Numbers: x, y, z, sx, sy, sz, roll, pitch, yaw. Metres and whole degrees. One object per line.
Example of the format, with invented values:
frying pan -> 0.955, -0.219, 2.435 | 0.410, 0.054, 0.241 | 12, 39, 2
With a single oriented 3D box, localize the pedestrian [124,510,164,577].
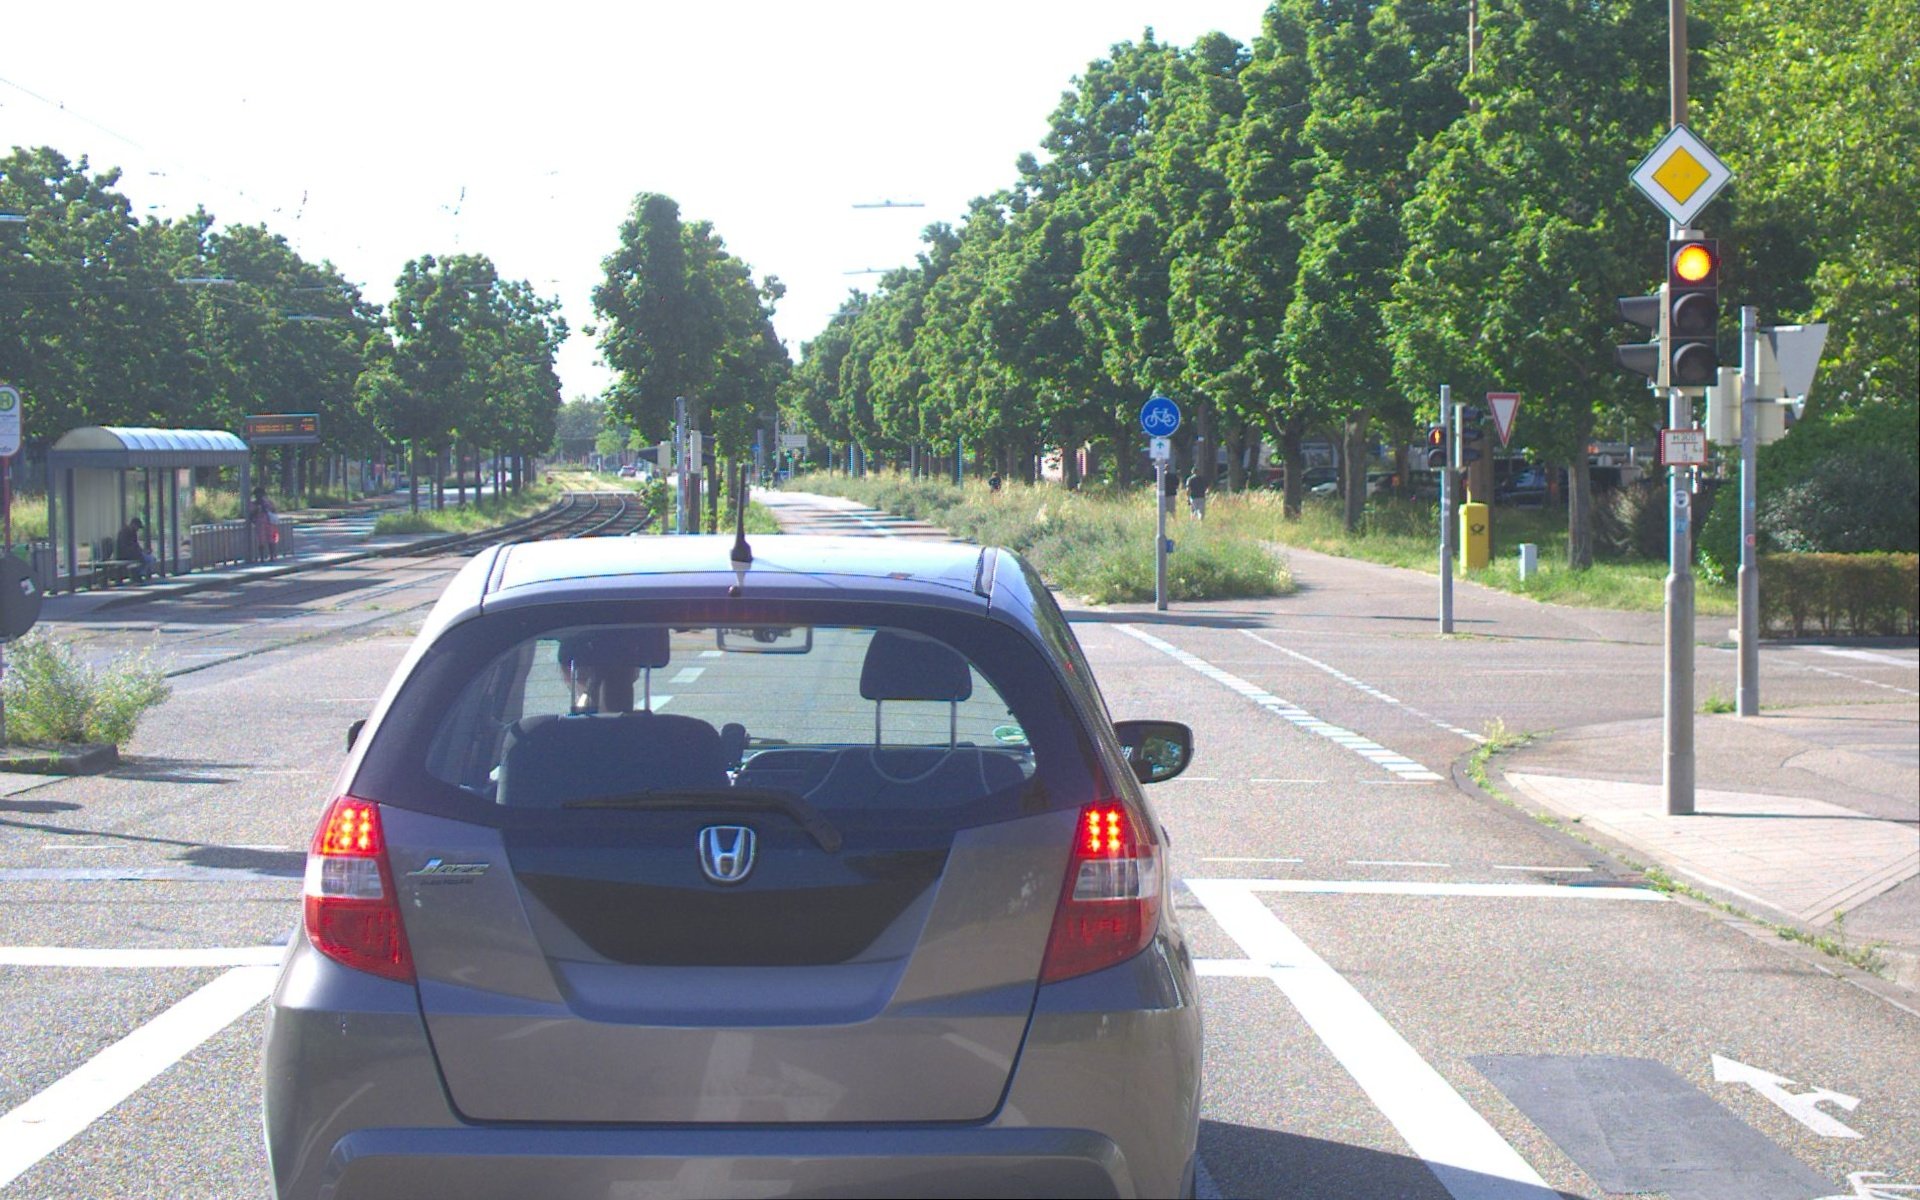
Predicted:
pedestrian -> -15.551, -1.085, 65.522 | 0.563, 1.252, 0.581 | -3, 1, -1

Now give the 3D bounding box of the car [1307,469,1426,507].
car -> 17.082, -4.711, 144.518 | 4.630, 1.550, 2.001 | -1, 2, -6

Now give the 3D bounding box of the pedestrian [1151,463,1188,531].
pedestrian -> 5.778, -2.844, 94.817 | 0.882, 1.877, 0.875 | -1, 2, -4

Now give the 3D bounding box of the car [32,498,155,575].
car -> -22.343, -1.665, 88.813 | 2.093, 1.803, 4.794 | -2, 3, -3

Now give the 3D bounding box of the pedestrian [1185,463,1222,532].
pedestrian -> 6.717, -2.831, 94.838 | 0.882, 1.877, 0.875 | -1, 2, -4

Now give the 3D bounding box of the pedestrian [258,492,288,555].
pedestrian -> -16.003, -1.779, 80.075 | 0.544, 1.442, 0.559 | -1, 1, -1

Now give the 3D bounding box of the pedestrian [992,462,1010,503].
pedestrian -> 1.682, -4.827, 141.372 | 0.725, 1.685, 0.821 | 0, 0, -3

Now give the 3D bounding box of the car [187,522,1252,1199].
car -> -0.408, 0.610, 7.375 | 1.701, 1.518, 3.710 | 0, 1, -1
